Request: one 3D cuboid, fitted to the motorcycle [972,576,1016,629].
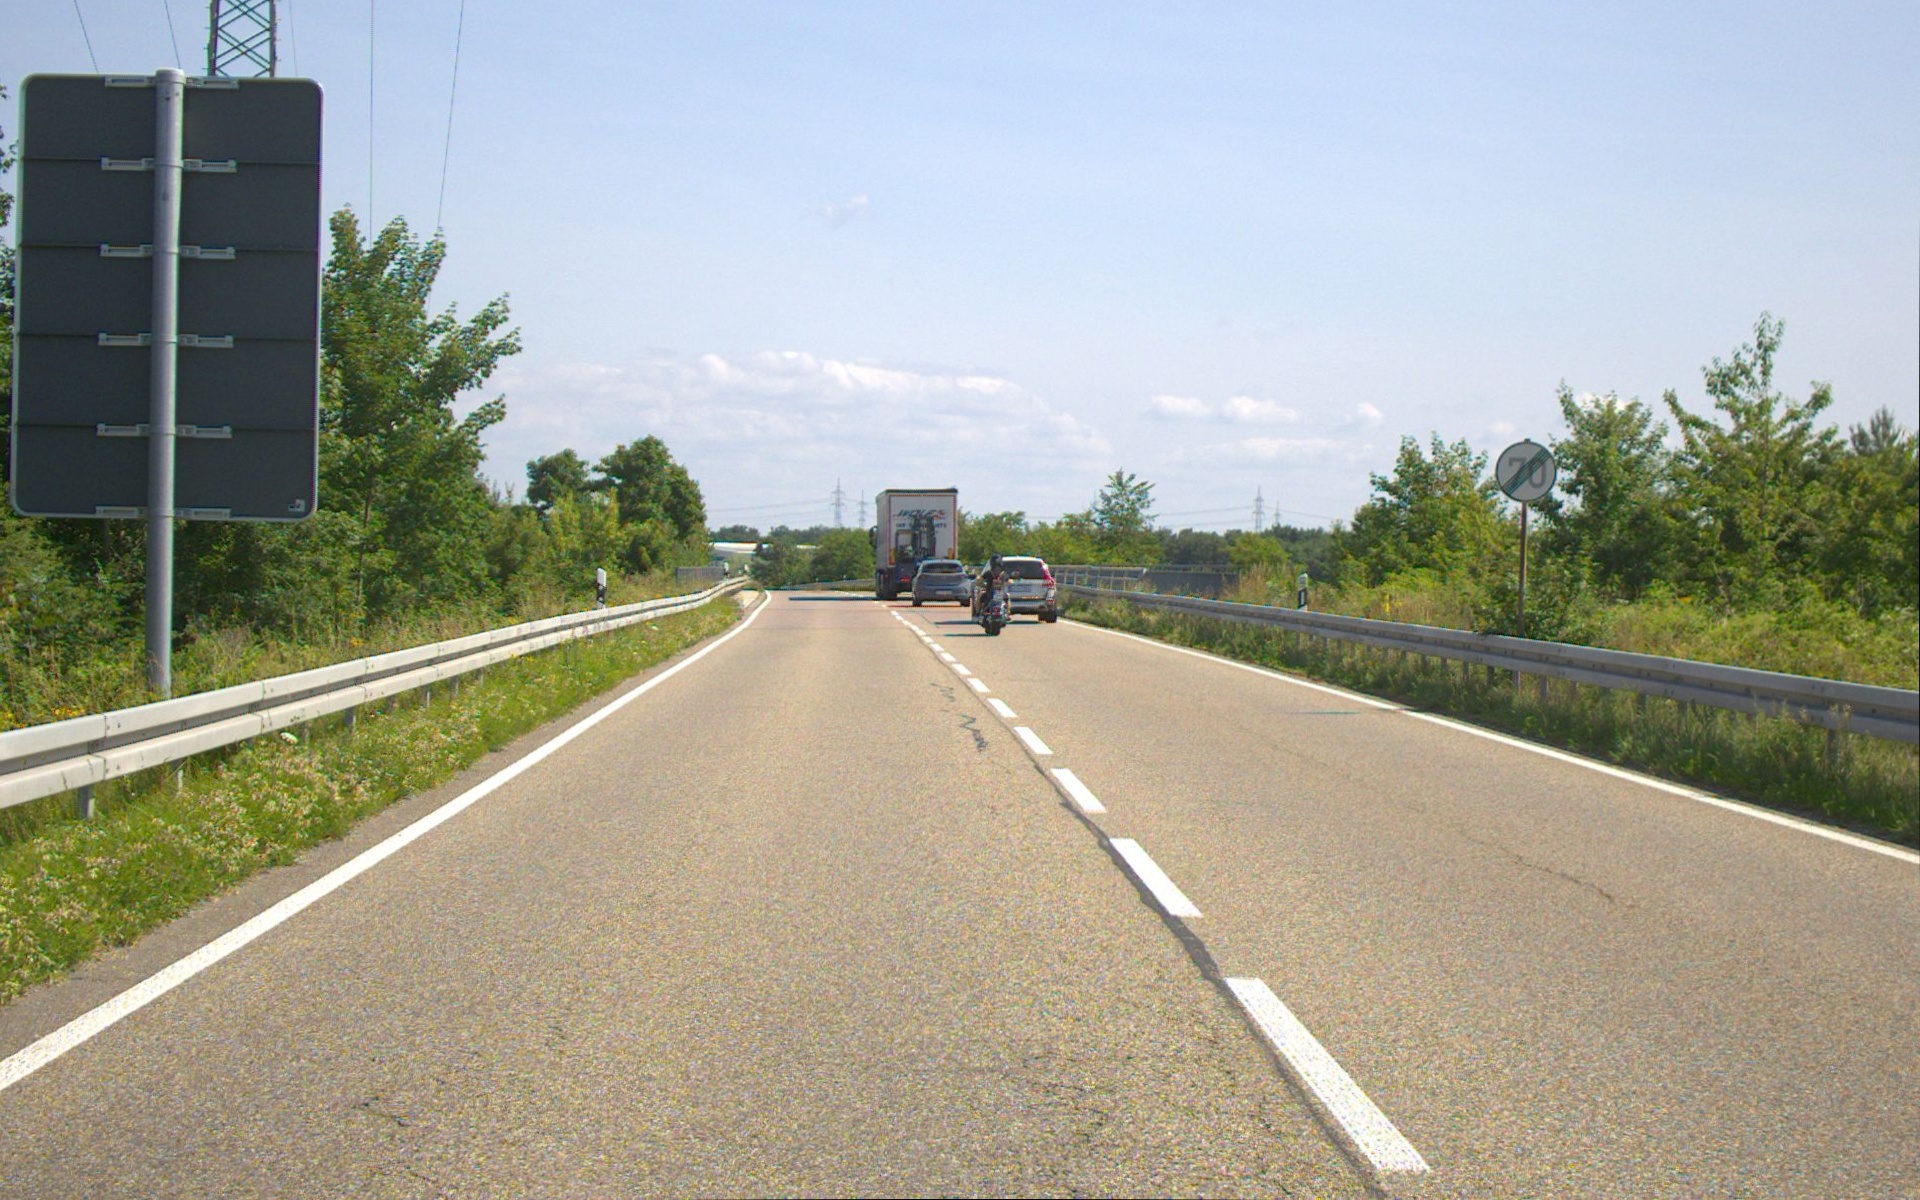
[{"bbox_3d":[0.661,0.038,67.401,0.780,0.972,2.361,0,1,-1],"label":"motorcycle"}]

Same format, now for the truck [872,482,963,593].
[{"bbox_3d":[-1.601,-2.319,128.564,3.241,3.965,9.444,0,1,-1],"label":"truck"}]

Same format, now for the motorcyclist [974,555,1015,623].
[{"bbox_3d":[0.673,-0.223,67.417,0.780,1.321,0.813,0,1,-1],"label":"motorcyclist"}]

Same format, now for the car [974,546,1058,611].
[{"bbox_3d":[1.294,-0.522,81.202,1.825,1.446,4.000,0,1,-1],"label":"car"}]

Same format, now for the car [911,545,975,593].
[{"bbox_3d":[-0.537,-0.962,105.263,1.866,1.415,4.000,1,1,-1],"label":"car"}]
